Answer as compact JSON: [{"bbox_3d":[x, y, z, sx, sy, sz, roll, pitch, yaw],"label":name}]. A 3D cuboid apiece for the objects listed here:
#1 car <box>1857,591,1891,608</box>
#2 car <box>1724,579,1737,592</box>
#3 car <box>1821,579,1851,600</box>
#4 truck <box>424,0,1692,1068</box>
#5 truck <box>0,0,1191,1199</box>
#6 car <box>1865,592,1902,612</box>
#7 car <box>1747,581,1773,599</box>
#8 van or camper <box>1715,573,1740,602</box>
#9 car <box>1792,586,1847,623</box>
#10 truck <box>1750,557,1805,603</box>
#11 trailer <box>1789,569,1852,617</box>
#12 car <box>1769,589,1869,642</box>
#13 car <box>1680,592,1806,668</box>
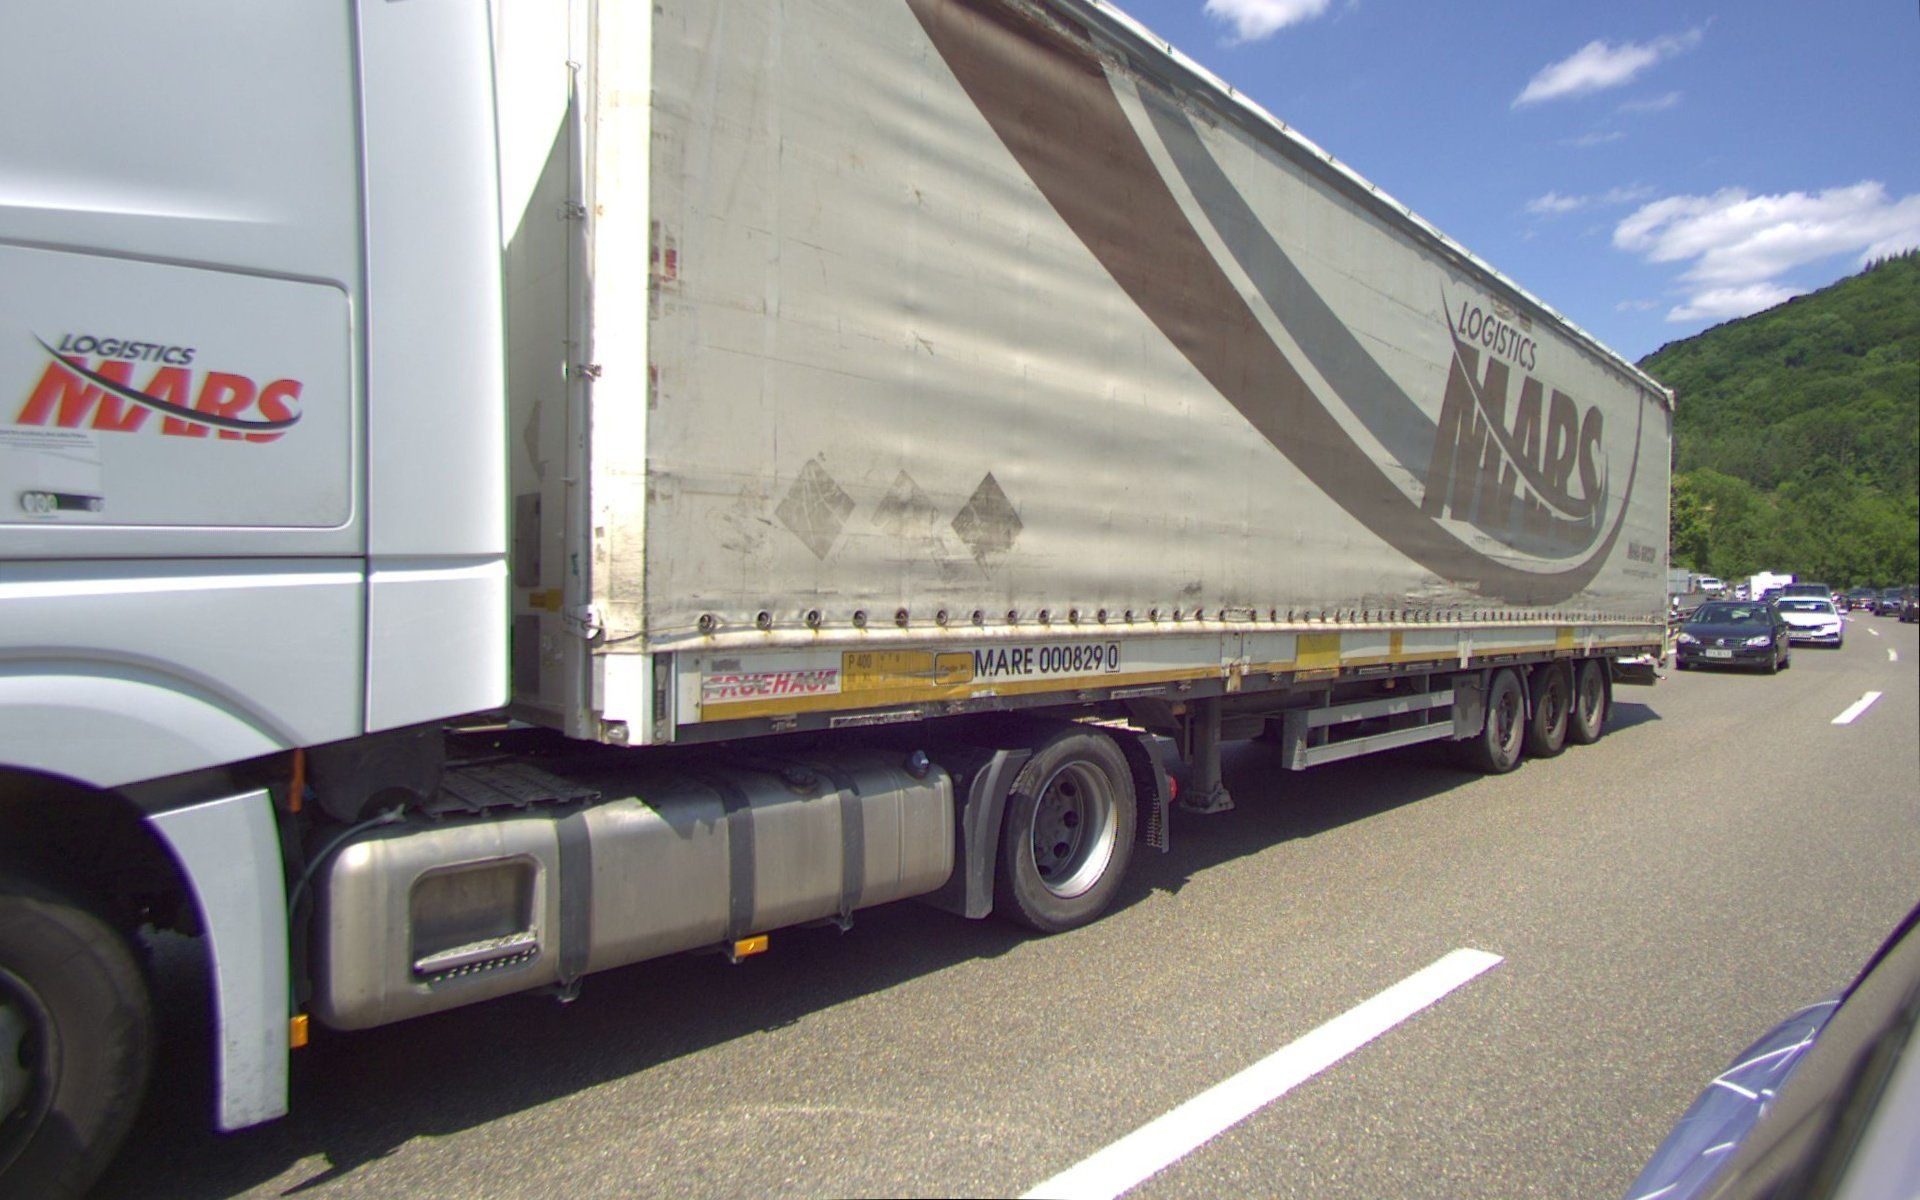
[{"bbox_3d":[62.247,-0.052,68.935,1.484,1.123,3.170,0,0,38],"label":"car"},{"bbox_3d":[94.580,-1.782,124.265,1.239,1.497,2.921,-2,-1,37],"label":"car"},{"bbox_3d":[71.557,-0.862,82.726,1.522,1.658,3.374,-2,-1,36],"label":"car"},{"bbox_3d":[3.151,-0.771,8.682,13.514,4.118,2.728,-1,1,-44],"label":"truck"},{"bbox_3d":[-1.880,-0.692,3.821,5.659,4.118,2.721,-1,1,-44],"label":"truck"},{"bbox_3d":[53.173,0.098,58.300,1.486,1.123,3.166,0,0,41],"label":"car"},{"bbox_3d":[71.339,-0.875,90.314,1.690,1.552,3.631,-2,-1,37],"label":"car"},{"bbox_3d":[83.572,-1.330,110.266,1.898,3.065,4.814,1,1,34],"label":"van or camper"},{"bbox_3d":[35.330,0.168,41.574,1.485,1.400,3.680,4,3,43],"label":"car"},{"bbox_3d":[59.521,-1.375,73.820,2.588,3.147,6.770,-2,-1,36],"label":"truck"},{"bbox_3d":[37.844,-0.360,44.504,1.992,1.994,3.941,2,3,41],"label":"trailer"},{"bbox_3d":[25.334,0.409,29.813,3.660,1.448,1.904,0,0,-44],"label":"car"},{"bbox_3d":[16.447,0.563,21.199,1.692,1.440,3.777,0,0,44],"label":"car"}]
